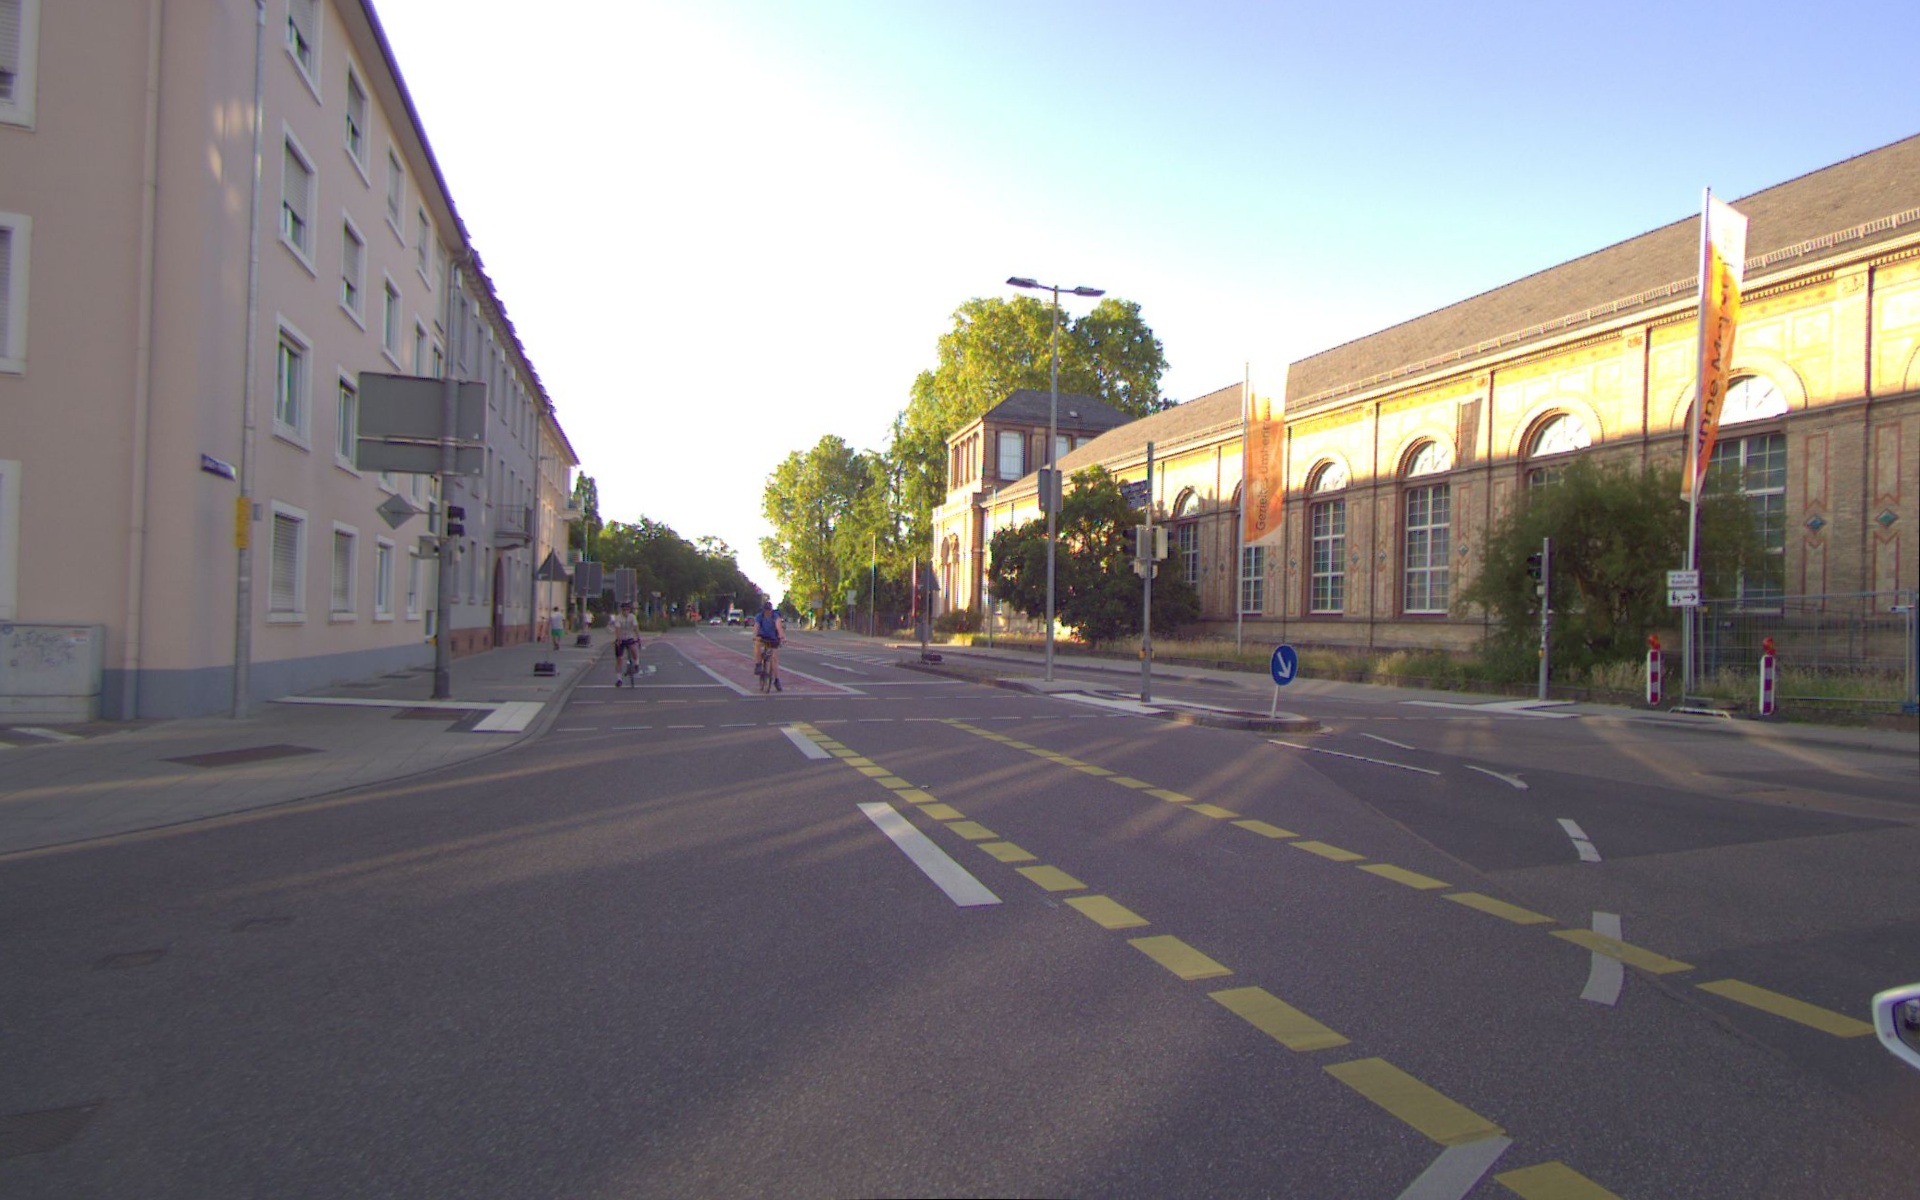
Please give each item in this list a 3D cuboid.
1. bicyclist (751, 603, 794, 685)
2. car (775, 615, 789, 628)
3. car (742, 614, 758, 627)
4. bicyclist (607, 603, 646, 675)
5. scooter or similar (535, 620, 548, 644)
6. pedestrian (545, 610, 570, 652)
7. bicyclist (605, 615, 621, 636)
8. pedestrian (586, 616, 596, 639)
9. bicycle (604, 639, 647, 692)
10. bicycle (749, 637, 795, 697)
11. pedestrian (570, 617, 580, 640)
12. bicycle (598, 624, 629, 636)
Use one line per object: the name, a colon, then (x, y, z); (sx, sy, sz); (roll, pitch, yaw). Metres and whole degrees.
bicyclist: (-3.710, 0.861, 19.827); (0.701, 1.565, 1.121); (1, -1, -15)
car: (-25.998, 3.145, 146.607); (1.965, 1.743, 3.991); (1, -1, -12)
car: (-29.696, 2.914, 142.024); (1.967, 1.743, 3.988); (2, -1, -15)
bicyclist: (-6.945, 0.804, 20.946); (0.701, 1.459, 0.891); (1, -1, -15)
scooter or similar: (-20.060, 1.528, 48.180); (0.390, 1.143, 0.859); (1, -1, -12)
pedestrian: (-16.656, 1.298, 41.585); (0.864, 1.674, 0.807); (2, -4, -17)
bicyclist: (-26.939, 1.970, 78.037); (0.742, 1.617, 0.868); (0, -1, 41)
pedestrian: (-25.899, 1.953, 70.511); (0.608, 1.595, 0.720); (2, -1, -24)
bicycle: (-6.965, 1.349, 20.977); (0.711, 1.024, 1.684); (1, -1, -15)
bicycle: (-3.742, 1.307, 19.888); (0.711, 1.081, 1.995); (1, -1, -15)
pedestrian: (-26.856, 1.998, 70.045); (0.608, 1.554, 0.686); (2, -1, -24)
bicycle: (-26.914, 2.351, 78.068); (0.762, 0.941, 2.183); (0, -1, 41)
